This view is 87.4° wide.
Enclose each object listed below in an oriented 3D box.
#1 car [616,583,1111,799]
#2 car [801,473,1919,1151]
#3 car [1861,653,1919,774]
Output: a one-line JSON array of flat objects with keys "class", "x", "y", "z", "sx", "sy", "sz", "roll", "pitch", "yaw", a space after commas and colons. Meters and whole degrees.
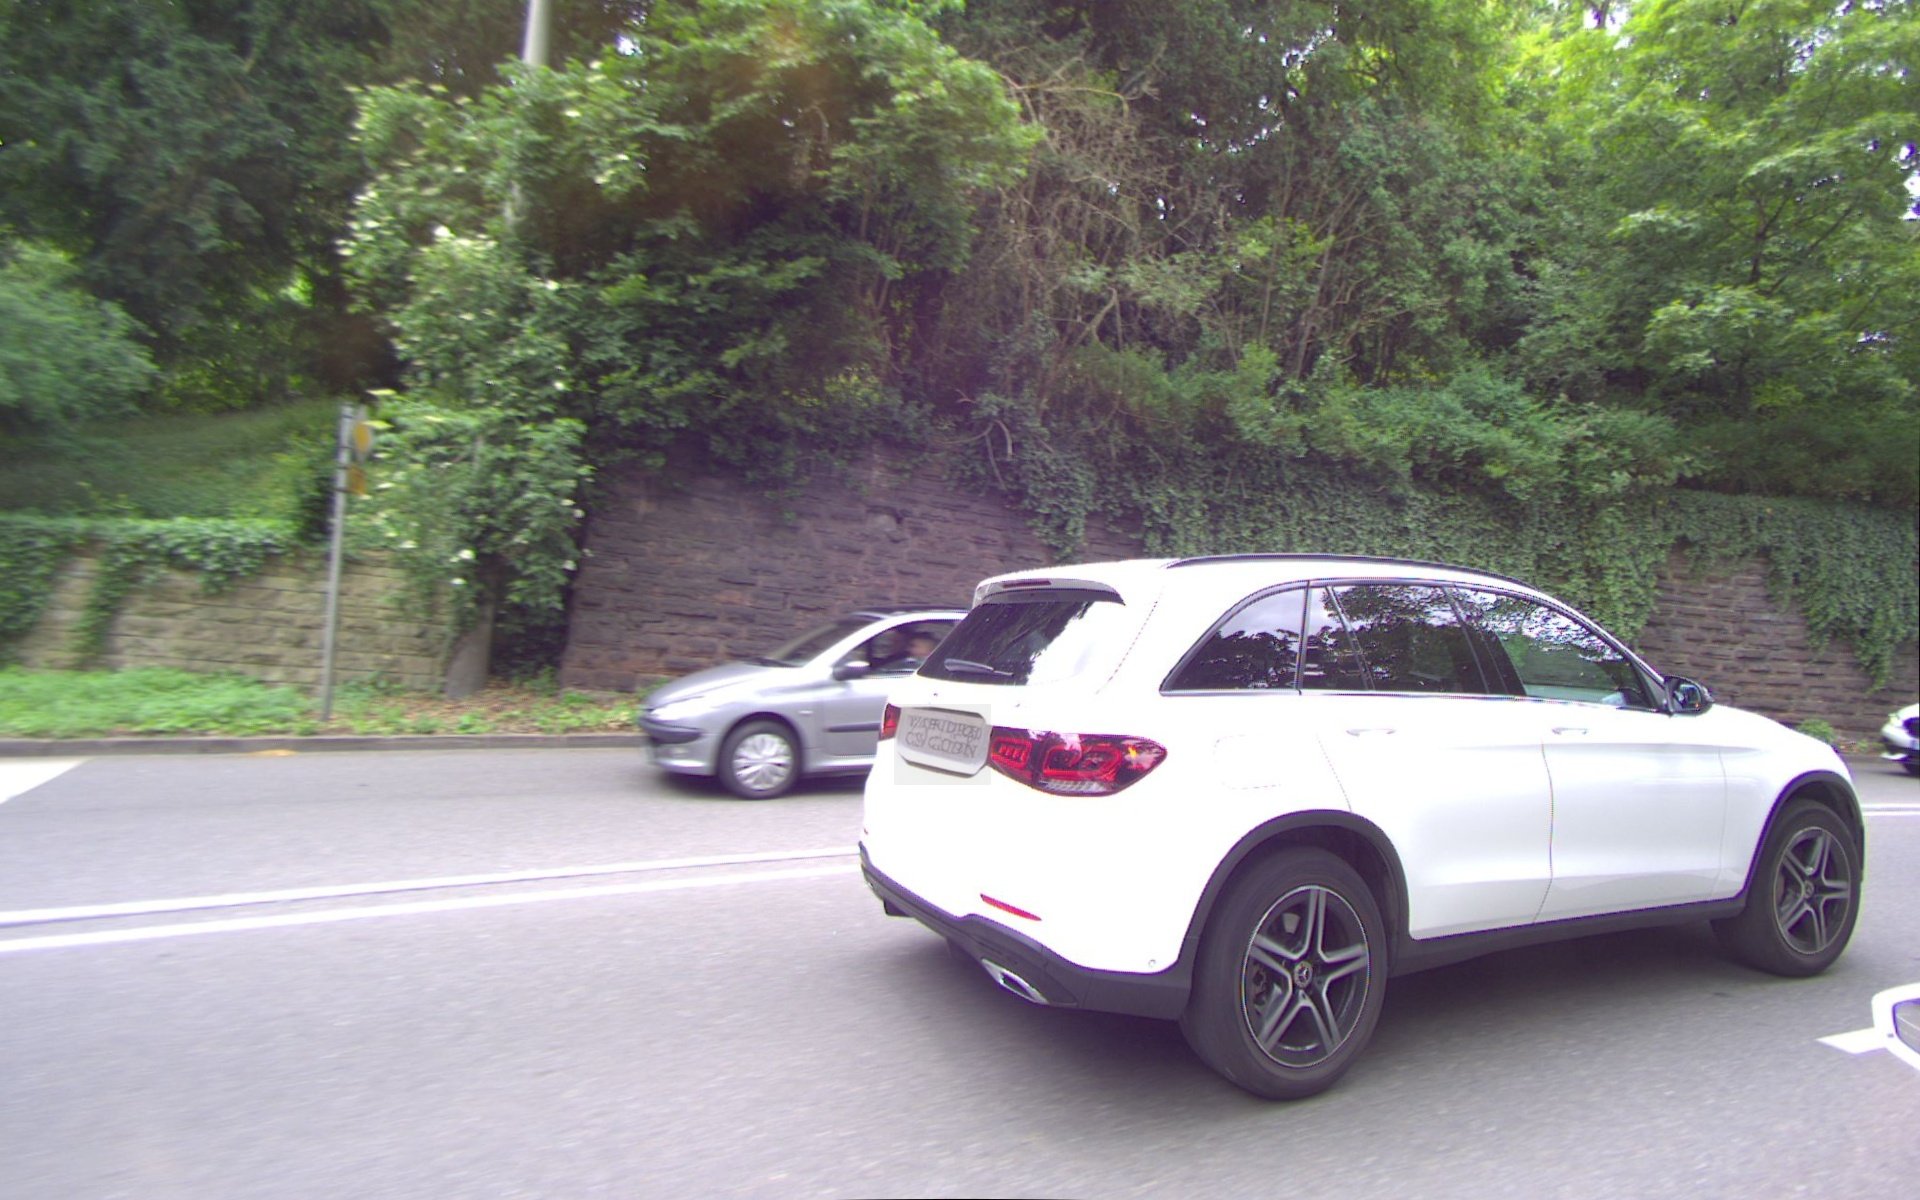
[{"class": "car", "x": -0.745, "y": 0.695, "z": 8.303, "sx": 3.709, "sy": 1.437, "sz": 1.599, "roll": 3, "pitch": -1, "yaw": -29}, {"class": "car", "x": 1.843, "y": 0.614, "z": 4.289, "sx": 4.611, "sy": 1.627, "sz": 1.852, "roll": 3, "pitch": -1, "yaw": -27}, {"class": "car", "x": 13.582, "y": 1.448, "z": 12.082, "sx": 4.249, "sy": 1.434, "sz": 1.750, "roll": 3, "pitch": -3, "yaw": -7}]
